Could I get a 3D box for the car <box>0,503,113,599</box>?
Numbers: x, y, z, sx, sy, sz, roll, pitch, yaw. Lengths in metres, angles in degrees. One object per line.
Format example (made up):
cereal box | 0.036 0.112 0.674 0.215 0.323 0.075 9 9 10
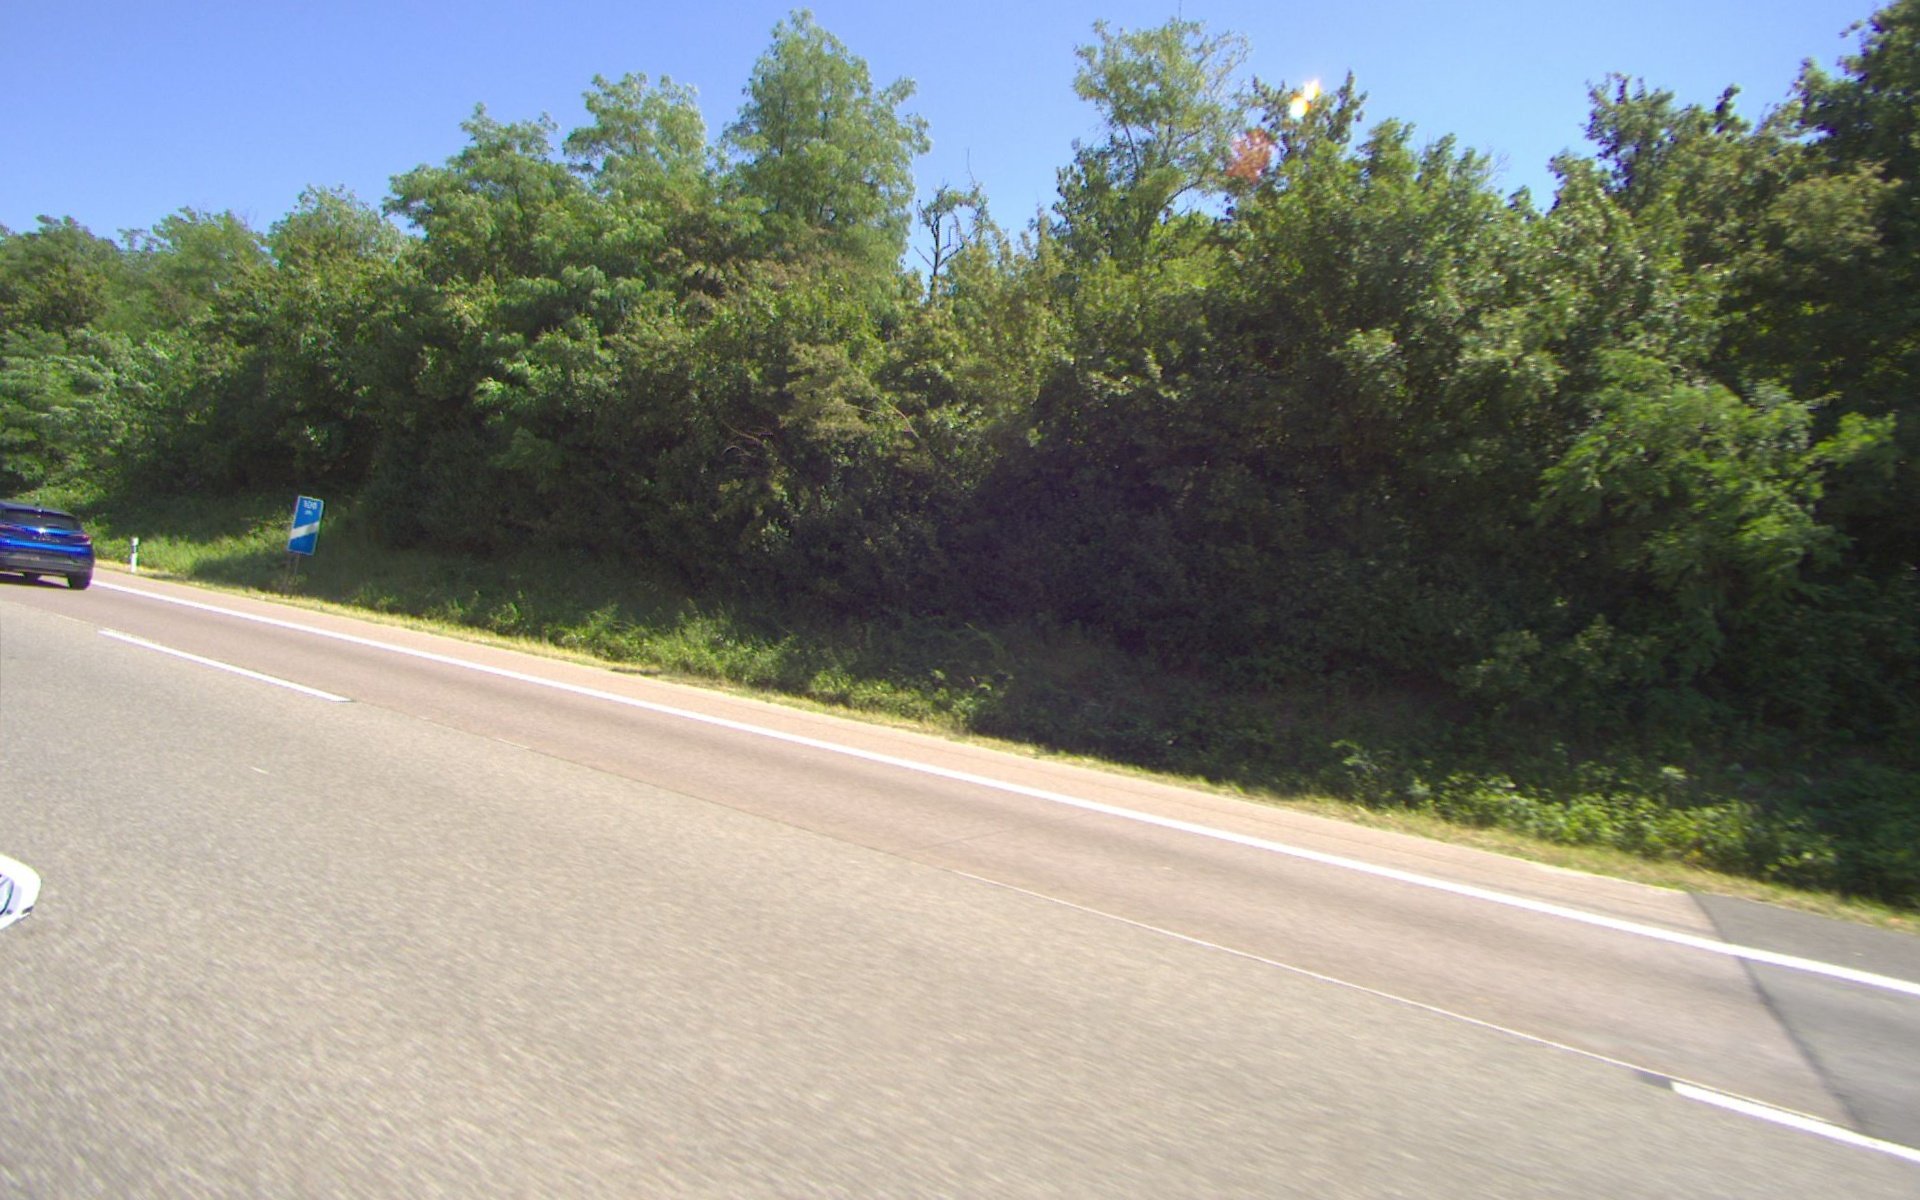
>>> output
car | -19.073 -1.084 20.160 4.132 1.573 1.874 6 -3 32
